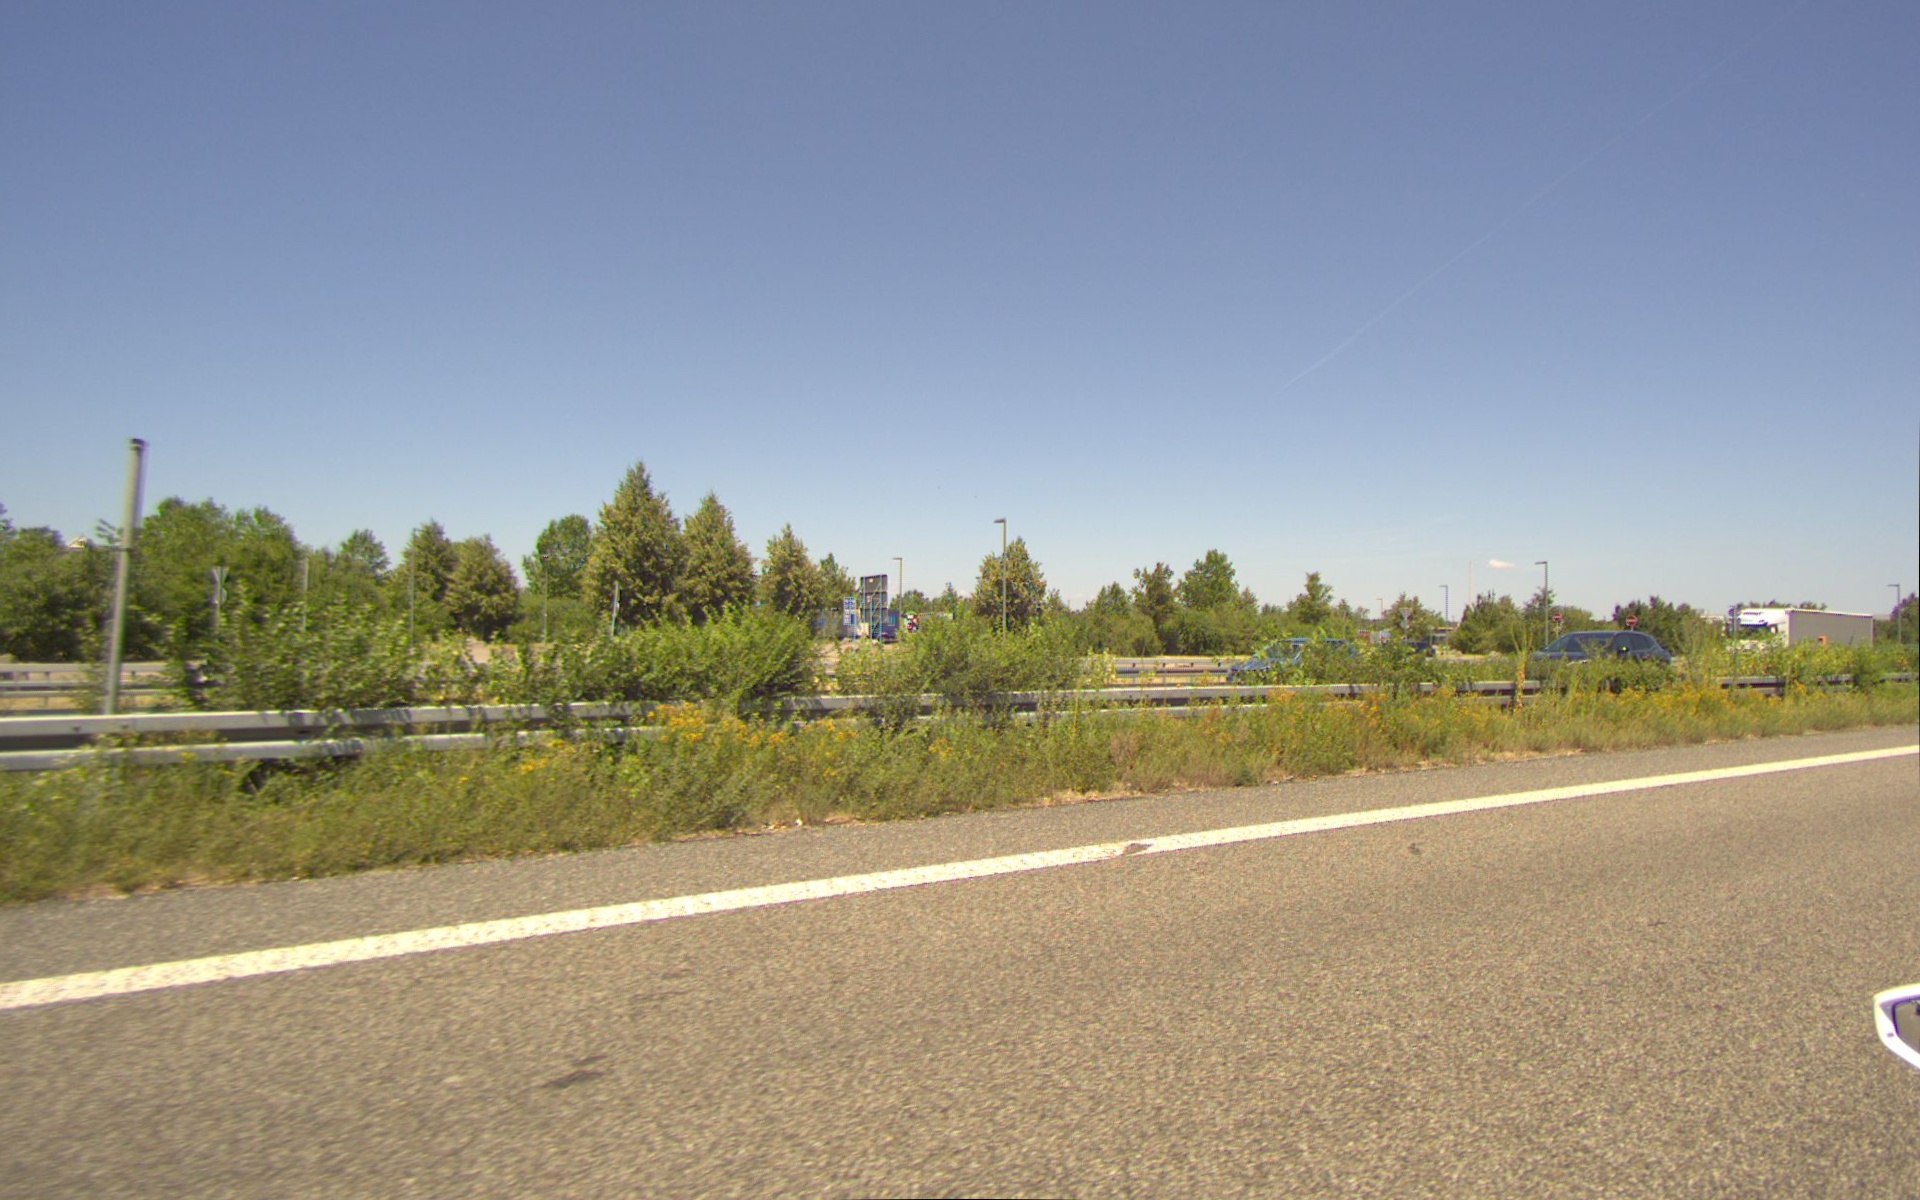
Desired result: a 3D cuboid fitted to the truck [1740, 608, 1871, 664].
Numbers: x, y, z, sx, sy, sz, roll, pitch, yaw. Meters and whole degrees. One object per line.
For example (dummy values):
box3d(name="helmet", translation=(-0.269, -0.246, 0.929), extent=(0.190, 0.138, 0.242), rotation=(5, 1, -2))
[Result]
box3d(name="truck", translation=(60.704, 2.605, 71.954), extent=(13.447, 3.692, 2.785), rotation=(2, 0, -30))

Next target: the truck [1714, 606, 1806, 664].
box3d(name="truck", translation=(54.339, 2.386, 68.203), extent=(6.075, 3.692, 2.786), rotation=(2, 0, -30))

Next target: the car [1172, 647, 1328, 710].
box3d(name="car", translation=(7.117, 1.881, 24.570), extent=(3.810, 1.443, 1.535), rotation=(2, -3, -32))
